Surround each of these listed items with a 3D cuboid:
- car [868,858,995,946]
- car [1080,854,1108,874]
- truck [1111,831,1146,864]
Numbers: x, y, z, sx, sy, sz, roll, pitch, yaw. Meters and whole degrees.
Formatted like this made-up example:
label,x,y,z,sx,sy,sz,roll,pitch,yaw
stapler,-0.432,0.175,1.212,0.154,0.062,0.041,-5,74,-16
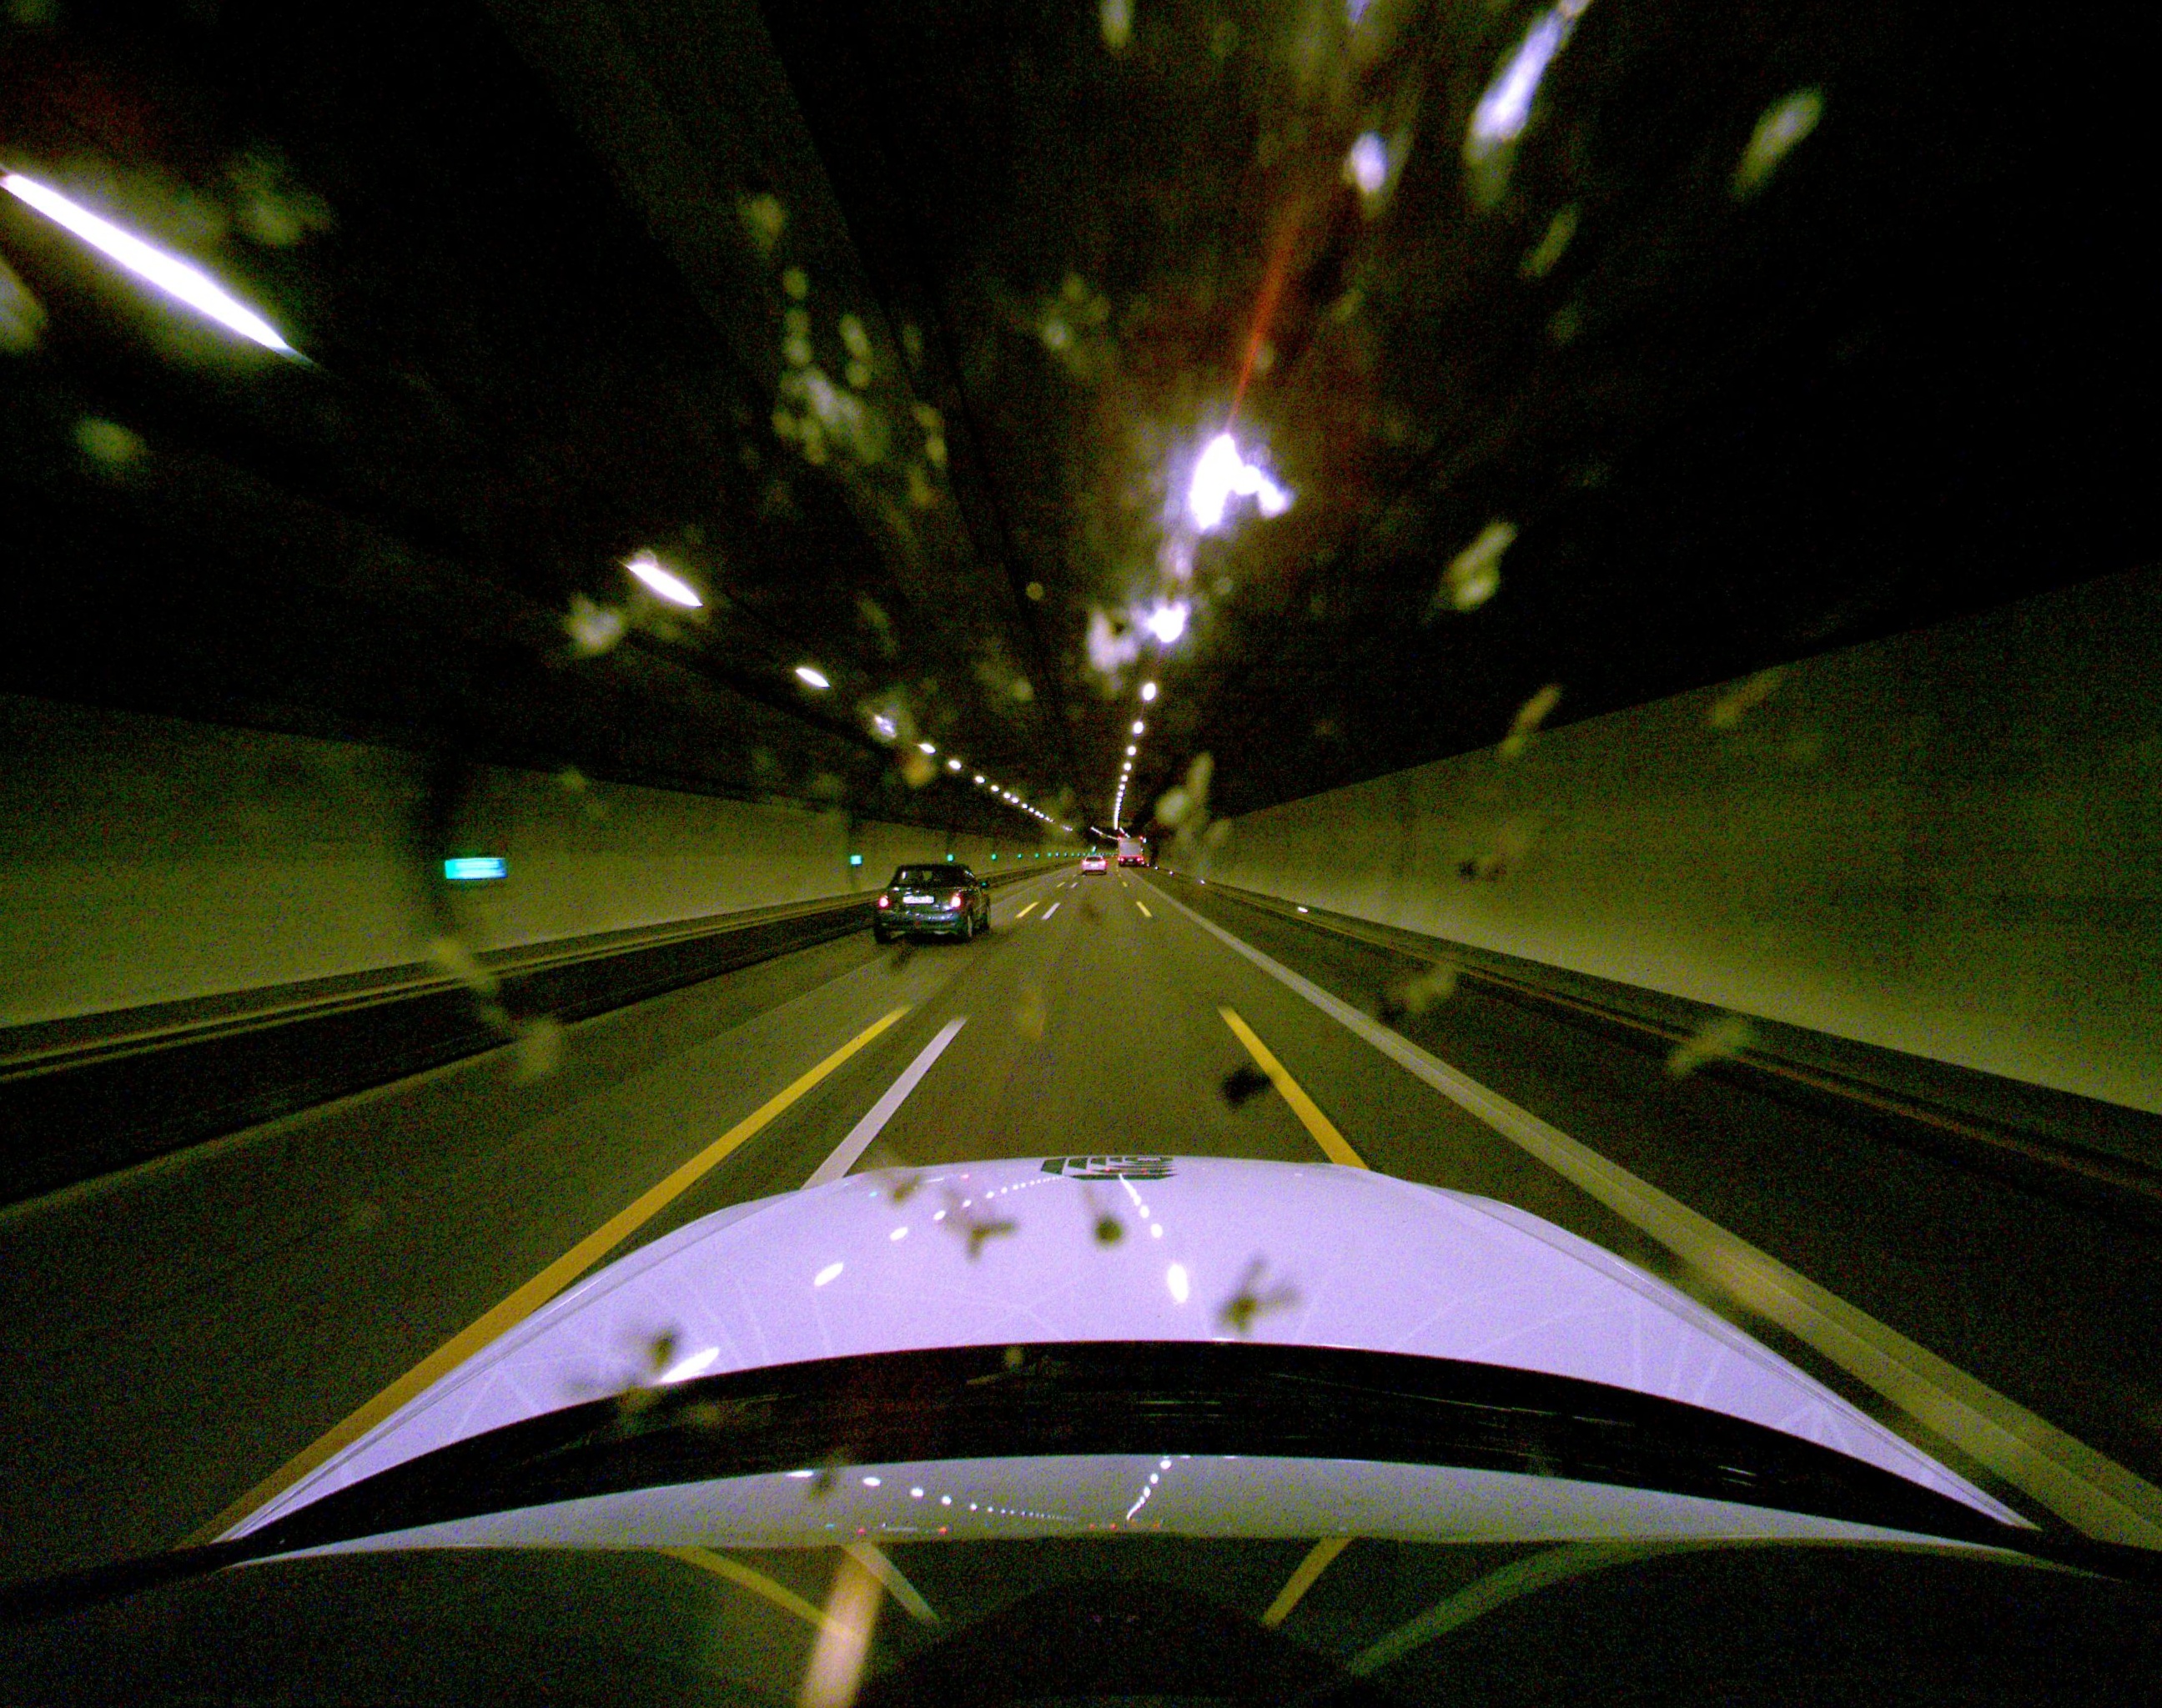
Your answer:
label,x,y,z,sx,sy,sz,roll,pitch,yaw
car,-2.744,0.818,15.779,1.683,1.417,3.923,-1,0,0
car,0.947,0.705,61.444,1.987,1.413,4.742,-1,0,0
truck,5.613,-0.726,98.282,3.581,3.650,10.721,-1,0,0
